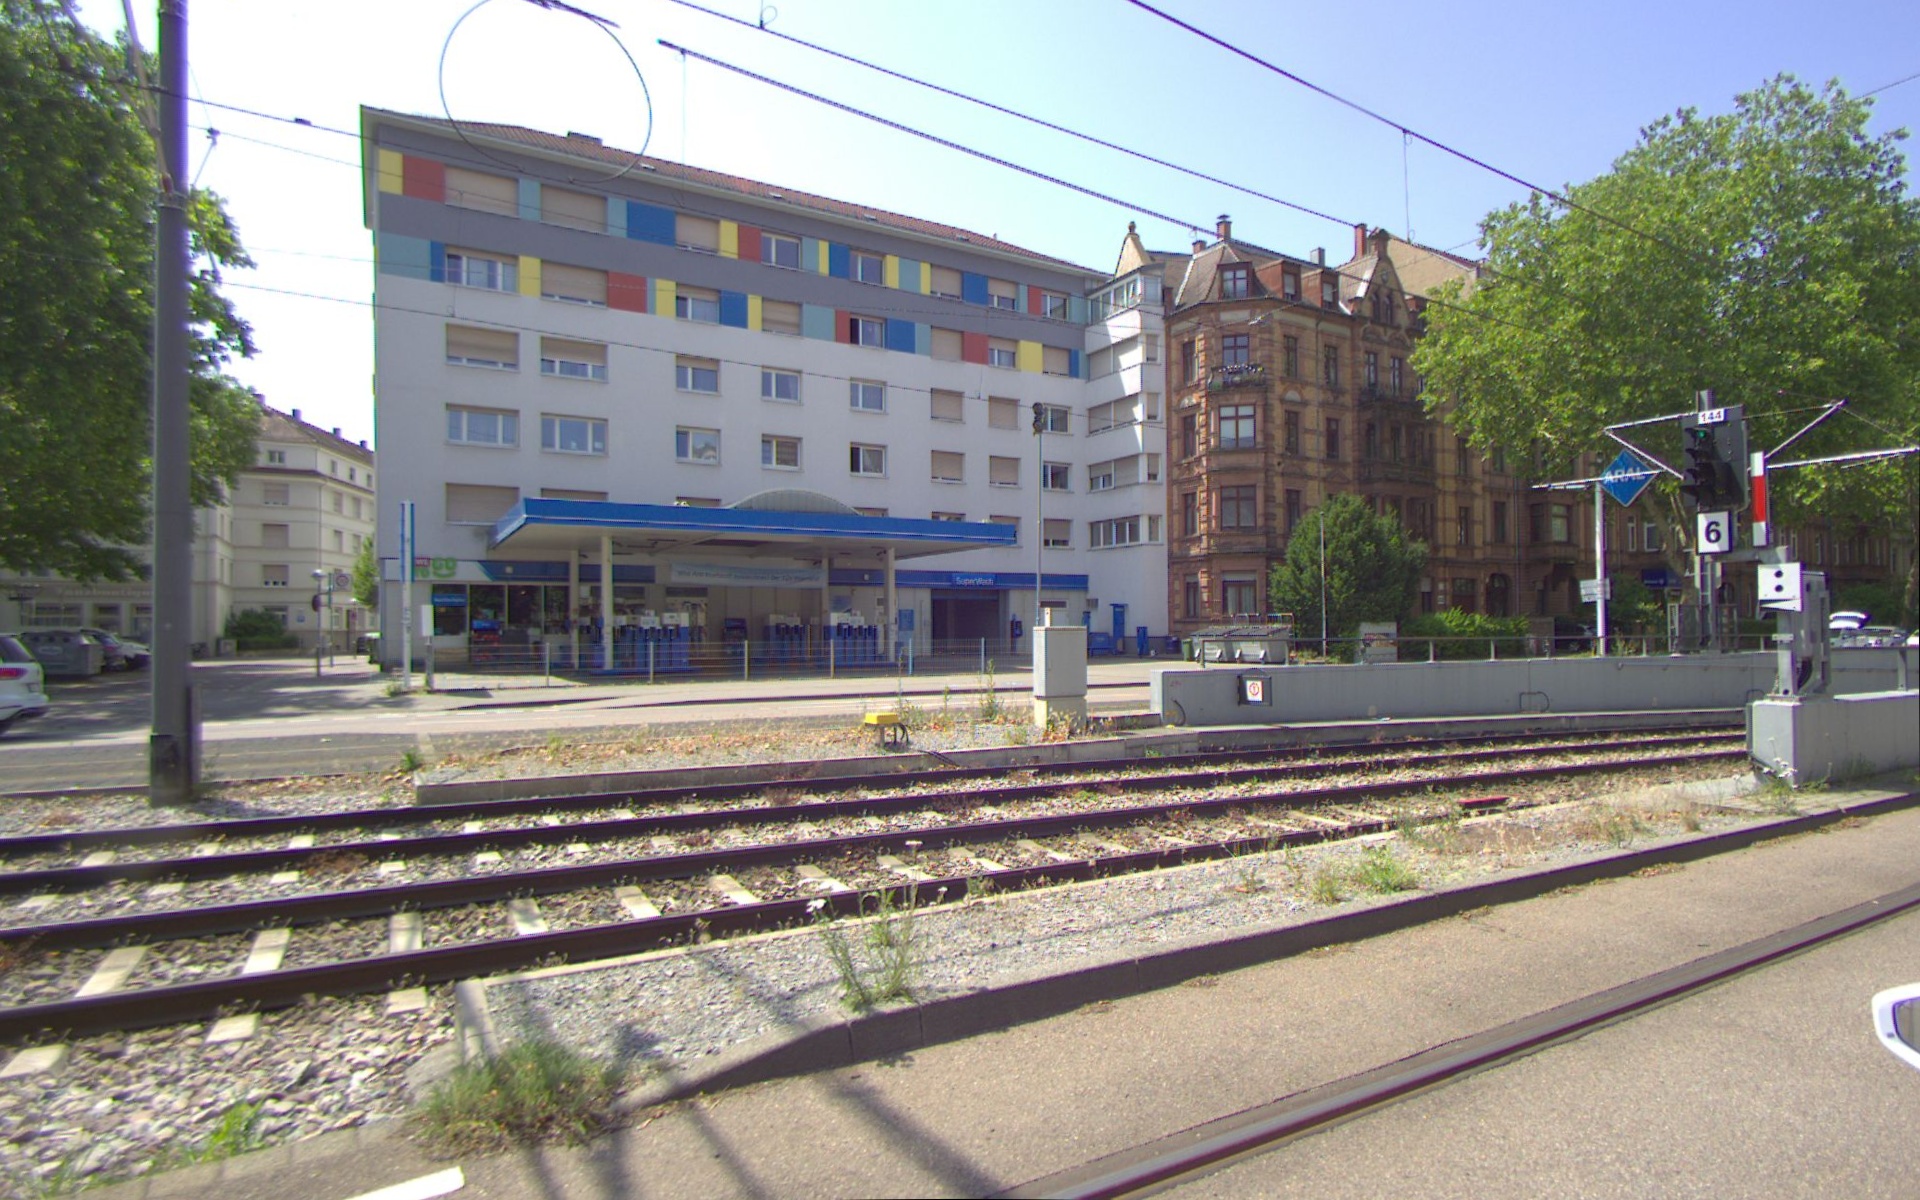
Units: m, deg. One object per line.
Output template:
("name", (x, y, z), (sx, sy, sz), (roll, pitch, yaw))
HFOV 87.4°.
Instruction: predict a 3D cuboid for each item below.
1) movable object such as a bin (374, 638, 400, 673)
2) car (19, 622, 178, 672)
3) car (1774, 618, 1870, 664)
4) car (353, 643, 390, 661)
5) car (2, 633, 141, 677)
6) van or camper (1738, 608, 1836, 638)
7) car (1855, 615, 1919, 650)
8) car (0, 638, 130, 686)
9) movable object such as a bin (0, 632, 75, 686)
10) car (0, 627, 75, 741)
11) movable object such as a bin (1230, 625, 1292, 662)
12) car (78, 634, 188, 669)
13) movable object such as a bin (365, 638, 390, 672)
("movable object such as a bin", (-26.334, 2.536, 46.188), (1.007, 1.581, 0.558), (0, -1, -30))
("car", (-37.047, 1.971, 43.404), (5.058, 2.017, 1.904), (0, -2, -36))
("car", (38.933, 1.804, 45.352), (4.665, 1.929, 1.983), (0, -1, -32))
("car", (-46.577, 4.114, 79.570), (1.700, 1.350, 3.738), (0, -1, -18))
("car", (-35.734, 2.179, 40.540), (3.957, 1.631, 1.852), (0, -1, -33))
("van or camper", (53.132, 1.456, 64.629), (1.905, 1.861, 4.532), (0, -1, -24))
("car", (43.948, 1.501, 47.058), (3.823, 1.582, 1.540), (0, -1, -23))
("car", (-34.500, 2.347, 38.469), (3.954, 1.728, 1.591), (1, -1, -31))
("movable object such as a bin", (-29.894, 1.837, 32.036), (1.963, 1.632, 2.704), (0, -1, -30))
("car", (-15.968, 1.255, 14.442), (4.547, 1.646, 1.839), (0, -3, -30))
("movable object such as a bin", (11.706, 1.685, 39.106), (1.453, 1.403, 1.773), (1, -1, -32))
("car", (-41.169, 2.555, 50.131), (3.954, 1.632, 1.983), (1, -1, -31))
("movable object such as a bin", (-27.053, 2.546, 46.683), (1.007, 1.581, 0.558), (0, -1, -30))
